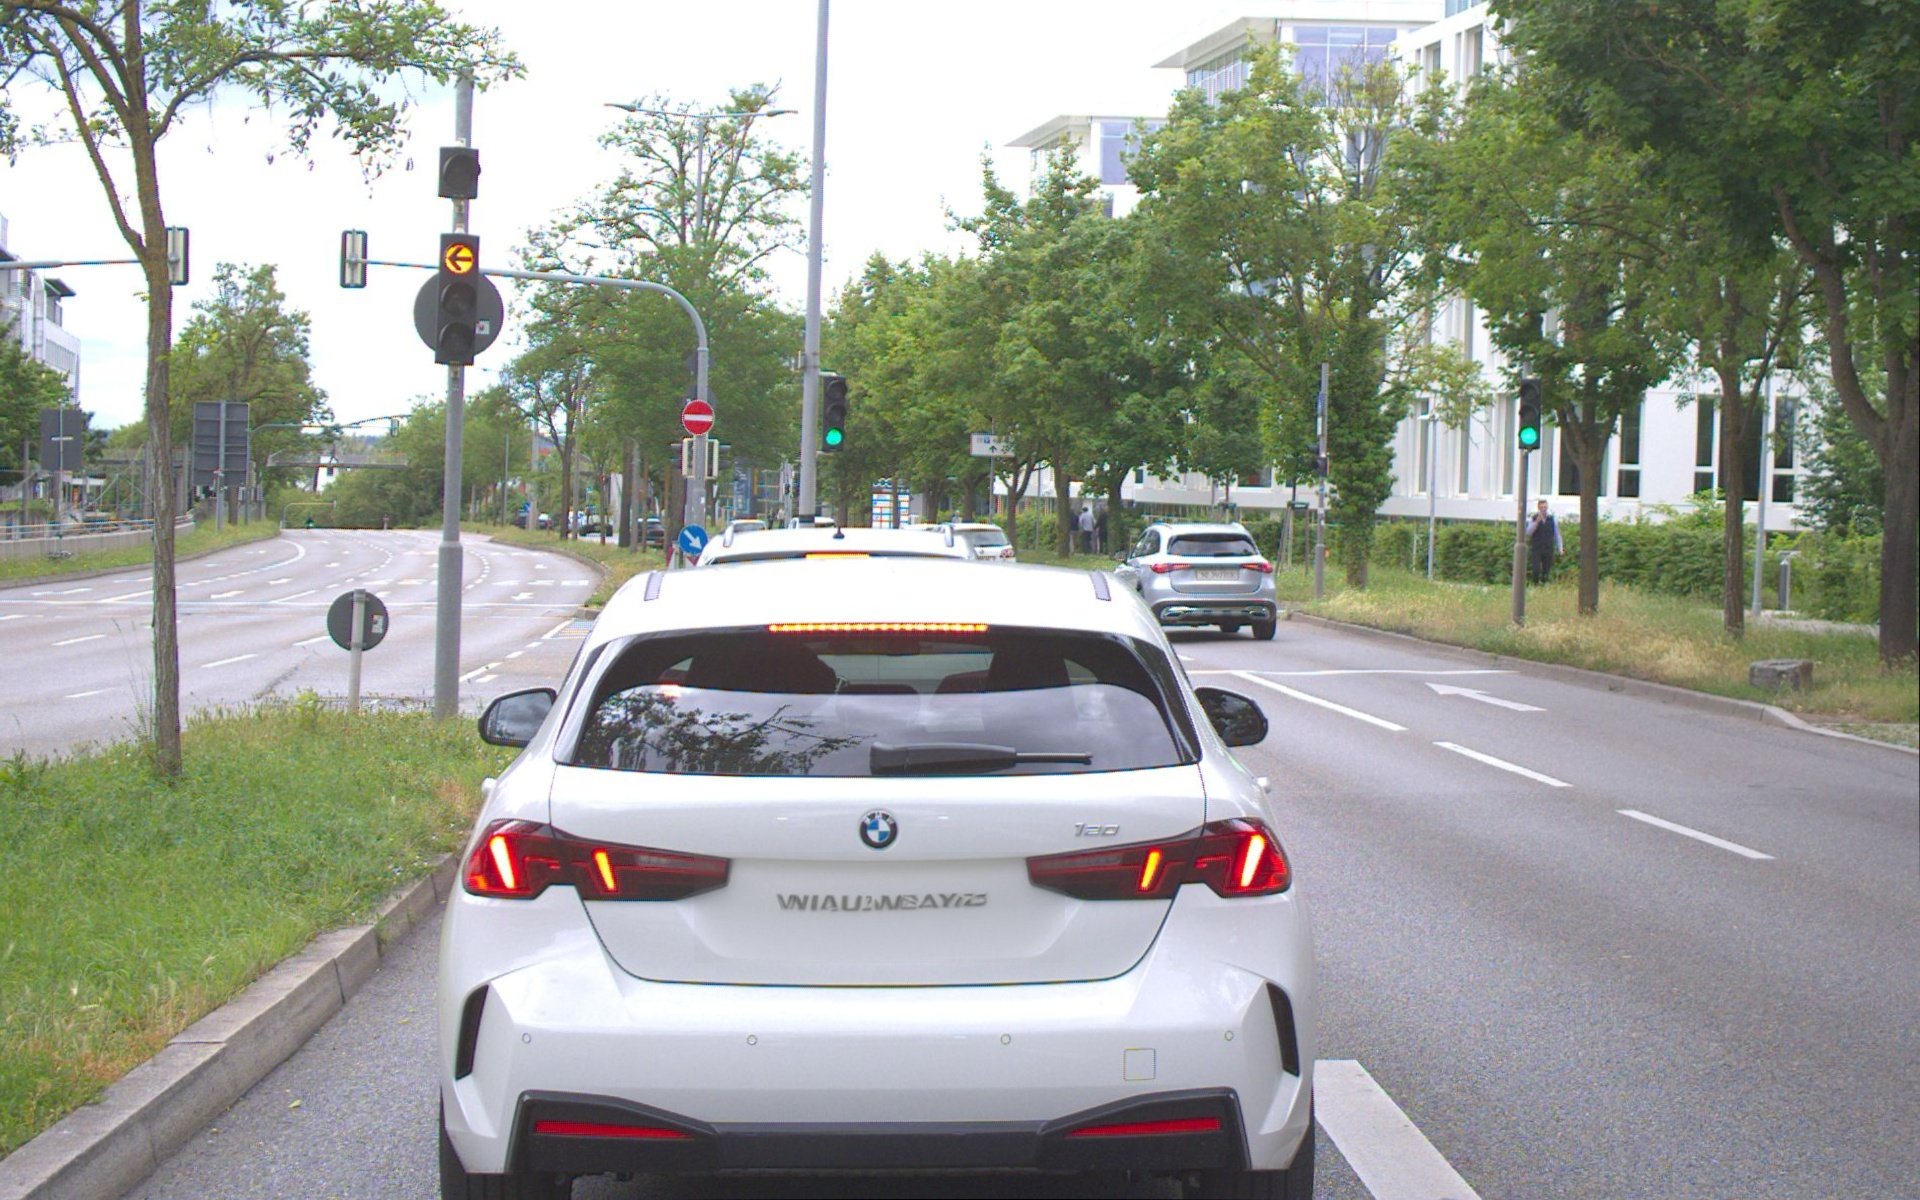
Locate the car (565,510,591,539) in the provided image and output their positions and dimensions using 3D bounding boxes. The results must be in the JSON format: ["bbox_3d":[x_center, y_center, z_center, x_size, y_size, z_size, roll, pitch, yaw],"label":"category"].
[{"bbox_3d":[-27.640,-5.438,248.599,1.837,2.007,4.001,1,1,-6],"label":"car"}]

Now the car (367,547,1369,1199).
[{"bbox_3d":[-0.195,0.616,8.348,1.822,1.433,4.000,1,1,-1],"label":"car"}]

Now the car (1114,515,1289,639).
[{"bbox_3d":[3.356,-0.350,48.410,1.993,1.664,4.001,0,1,-3],"label":"car"}]

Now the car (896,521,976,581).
[{"bbox_3d":[-0.634,-1.274,88.851,1.692,1.481,3.694,1,1,-6],"label":"car"}]

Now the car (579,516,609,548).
[{"bbox_3d":[-23.761,-4.415,223.143,1.837,2.007,4.001,1,1,-6],"label":"car"}]

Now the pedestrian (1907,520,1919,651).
[{"bbox_3d":[11.017,-0.153,37.914,0.789,1.443,1.112,1,0,-1],"label":"pedestrian"}]

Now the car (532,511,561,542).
[{"bbox_3d":[-27.481,-4.876,228.365,1.837,2.007,4.001,1,1,-6],"label":"car"}]

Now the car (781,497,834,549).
[{"bbox_3d":[-5.081,-2.549,114.347,1.601,1.661,4.001,1,1,-4],"label":"car"}]

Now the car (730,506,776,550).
[{"bbox_3d":[-8.102,-2.806,134.278,1.738,1.661,4.001,1,1,-4],"label":"car"}]

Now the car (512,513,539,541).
[{"bbox_3d":[-31.642,-5.308,250.559,1.837,2.007,4.001,1,1,-6],"label":"car"}]

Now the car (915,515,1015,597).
[{"bbox_3d":[0.081,-0.971,74.934,1.695,1.711,4.001,1,1,-6],"label":"car"}]

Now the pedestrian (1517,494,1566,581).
[{"bbox_3d":[10.666,-1.143,63.100,0.741,1.568,0.674,1,0,-1],"label":"pedestrian"}]

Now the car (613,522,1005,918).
[{"bbox_3d":[-0.632,0.447,15.866,1.549,1.563,4.000,1,1,-1],"label":"car"}]

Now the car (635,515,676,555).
[{"bbox_3d":[-12.928,-2.762,146.088,1.601,1.661,4.001,1,1,-4],"label":"car"}]
